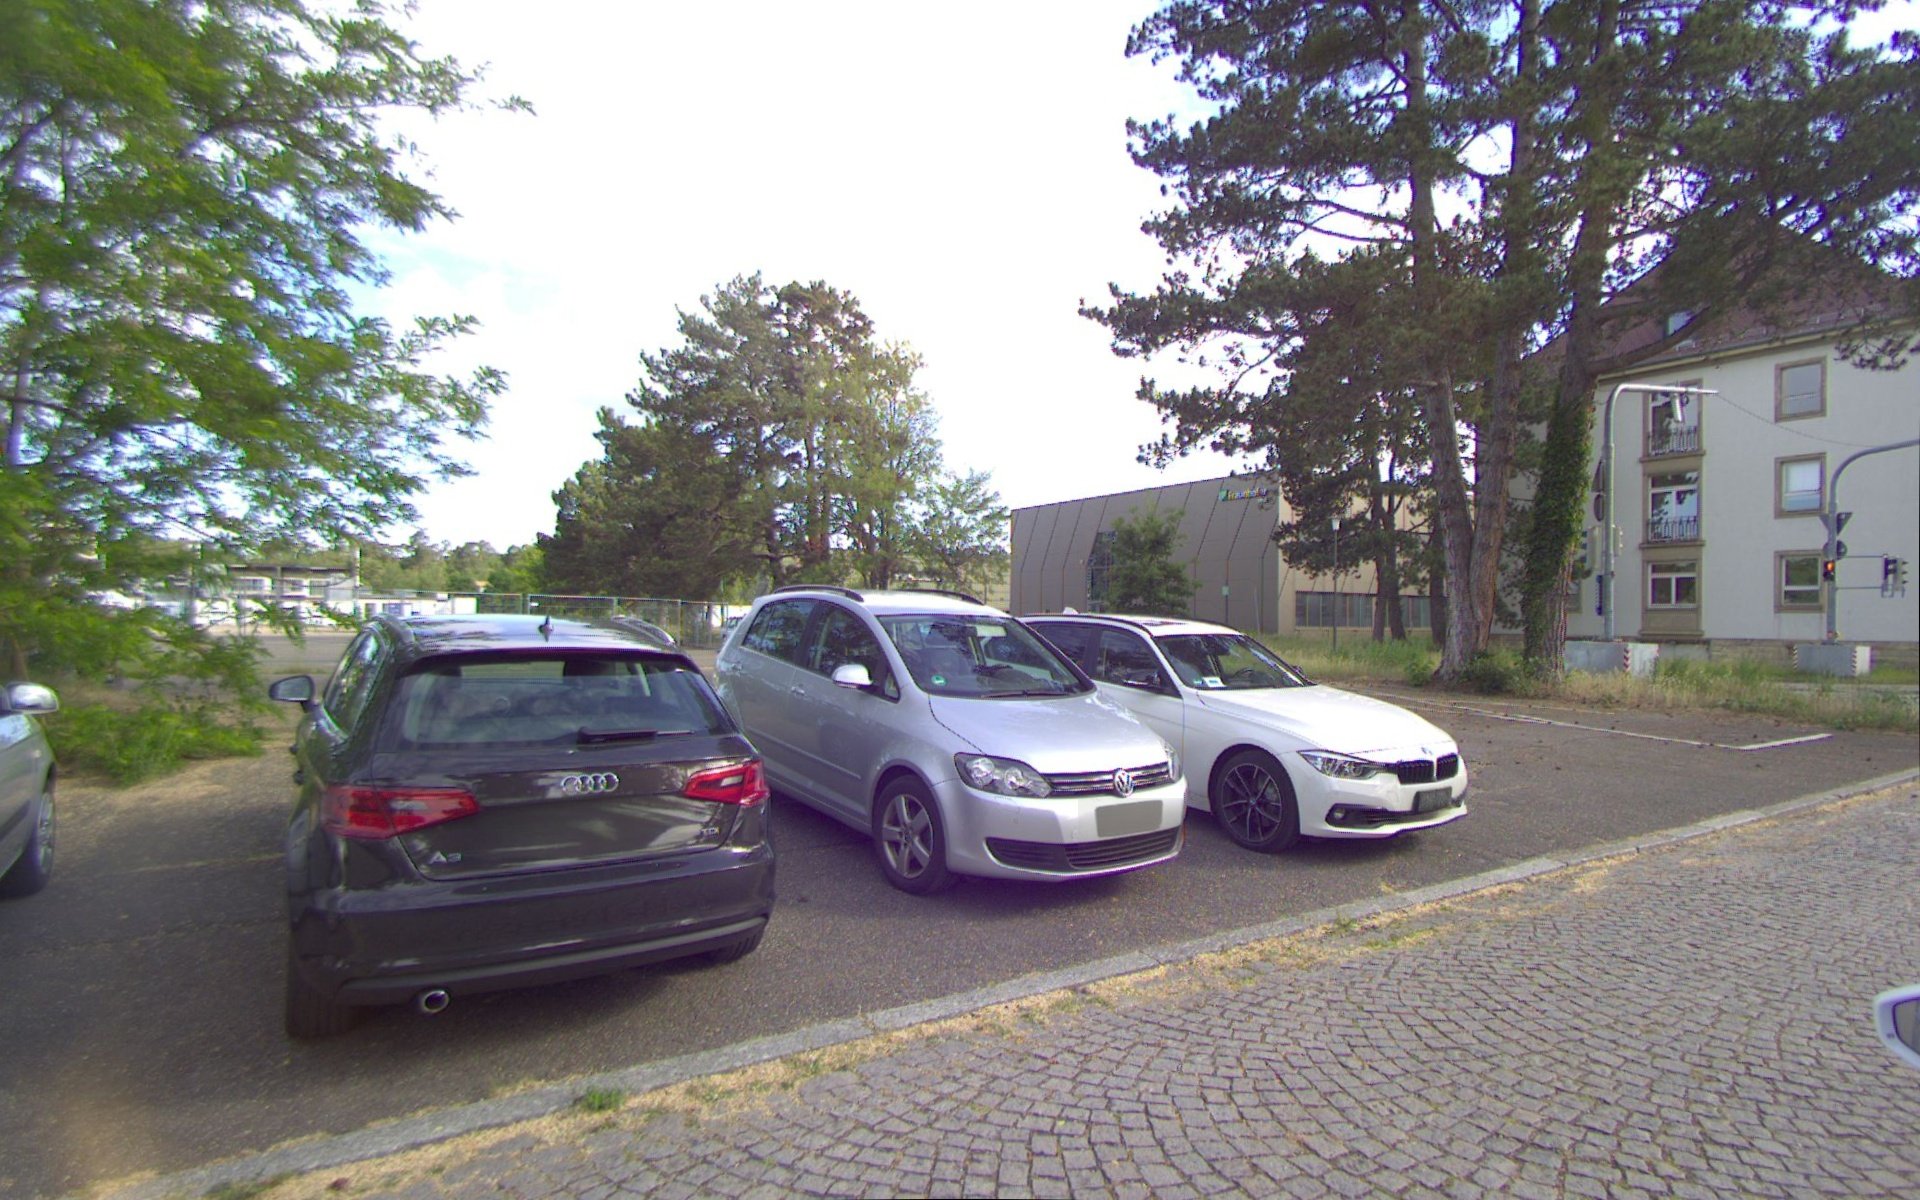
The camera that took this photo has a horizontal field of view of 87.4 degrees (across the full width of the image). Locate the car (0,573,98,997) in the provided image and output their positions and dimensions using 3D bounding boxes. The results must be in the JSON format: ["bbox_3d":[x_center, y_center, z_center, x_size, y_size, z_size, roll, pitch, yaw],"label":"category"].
[{"bbox_3d":[-4.329,0.669,3.461,1.630,1.495,3.553,1,1,-34],"label":"car"}]

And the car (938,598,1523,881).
[{"bbox_3d":[1.822,0.828,8.180,1.812,1.461,4.447,1,2,-35],"label":"car"}]

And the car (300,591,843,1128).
[{"bbox_3d":[-2.174,0.748,4.933,1.677,1.427,3.814,1,1,-32],"label":"car"}]

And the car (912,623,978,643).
[{"bbox_3d":[-0.999,2.219,67.412,4.146,1.289,1.599,1,-1,-29],"label":"car"}]

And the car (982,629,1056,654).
[{"bbox_3d":[3.498,2.434,59.483,4.081,1.433,1.750,1,-1,-29],"label":"car"}]

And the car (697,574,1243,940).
[{"bbox_3d":[-0.231,0.696,6.641,1.718,1.629,3.806,1,1,-34],"label":"car"}]
